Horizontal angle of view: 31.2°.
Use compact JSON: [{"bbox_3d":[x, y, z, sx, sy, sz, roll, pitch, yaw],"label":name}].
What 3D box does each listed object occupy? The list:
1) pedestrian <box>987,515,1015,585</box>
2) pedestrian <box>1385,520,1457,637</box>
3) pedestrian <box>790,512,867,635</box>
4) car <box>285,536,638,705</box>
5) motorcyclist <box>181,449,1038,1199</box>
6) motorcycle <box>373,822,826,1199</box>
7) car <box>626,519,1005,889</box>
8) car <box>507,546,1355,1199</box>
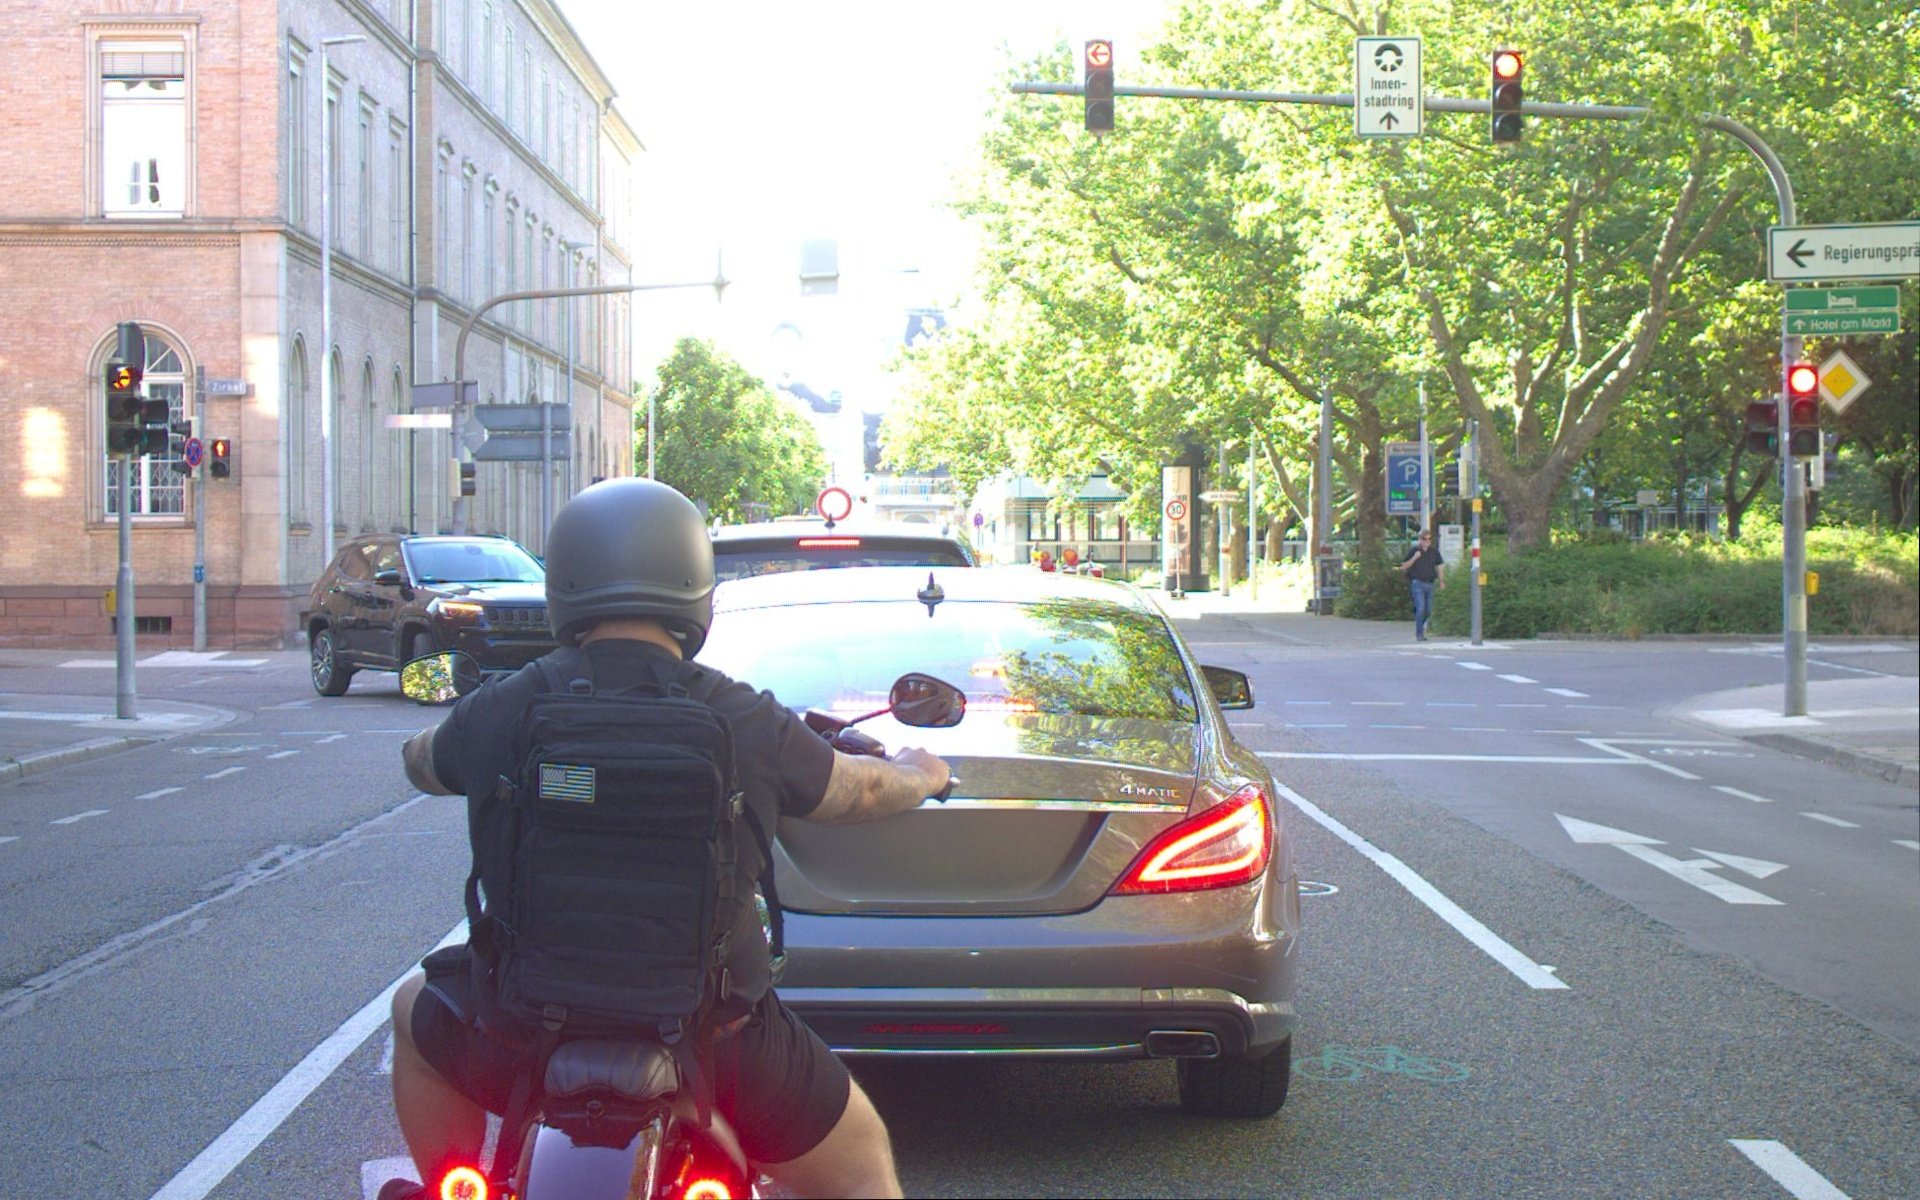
[{"bbox_3d":[1.202,-1.456,100.906,0.764,2.044,0.712,1,0,-1],"label":"pedestrian"},{"bbox_3d":[7.570,-0.353,56.463,0.749,1.903,0.926,1,0,-28],"label":"pedestrian"},{"bbox_3d":[-1.978,-0.400,51.993,1.002,1.820,1.076,1,0,6],"label":"pedestrian"},{"bbox_3d":[-5.010,0.162,34.069,1.850,1.565,4.385,1,1,-32],"label":"car"},{"bbox_3d":[-0.487,0.593,5.316,1.149,1.593,1.288,1,0,-1],"label":"motorcyclist"},{"bbox_3d":[-0.500,0.924,5.360,0.513,0.999,2.013,1,1,-1],"label":"motorcycle"},{"bbox_3d":[-0.641,0.409,16.742,1.621,1.588,4.000,0,1,-1],"label":"car"},{"bbox_3d":[-0.087,0.593,9.626,1.882,1.444,3.820,1,1,-1],"label":"car"}]
